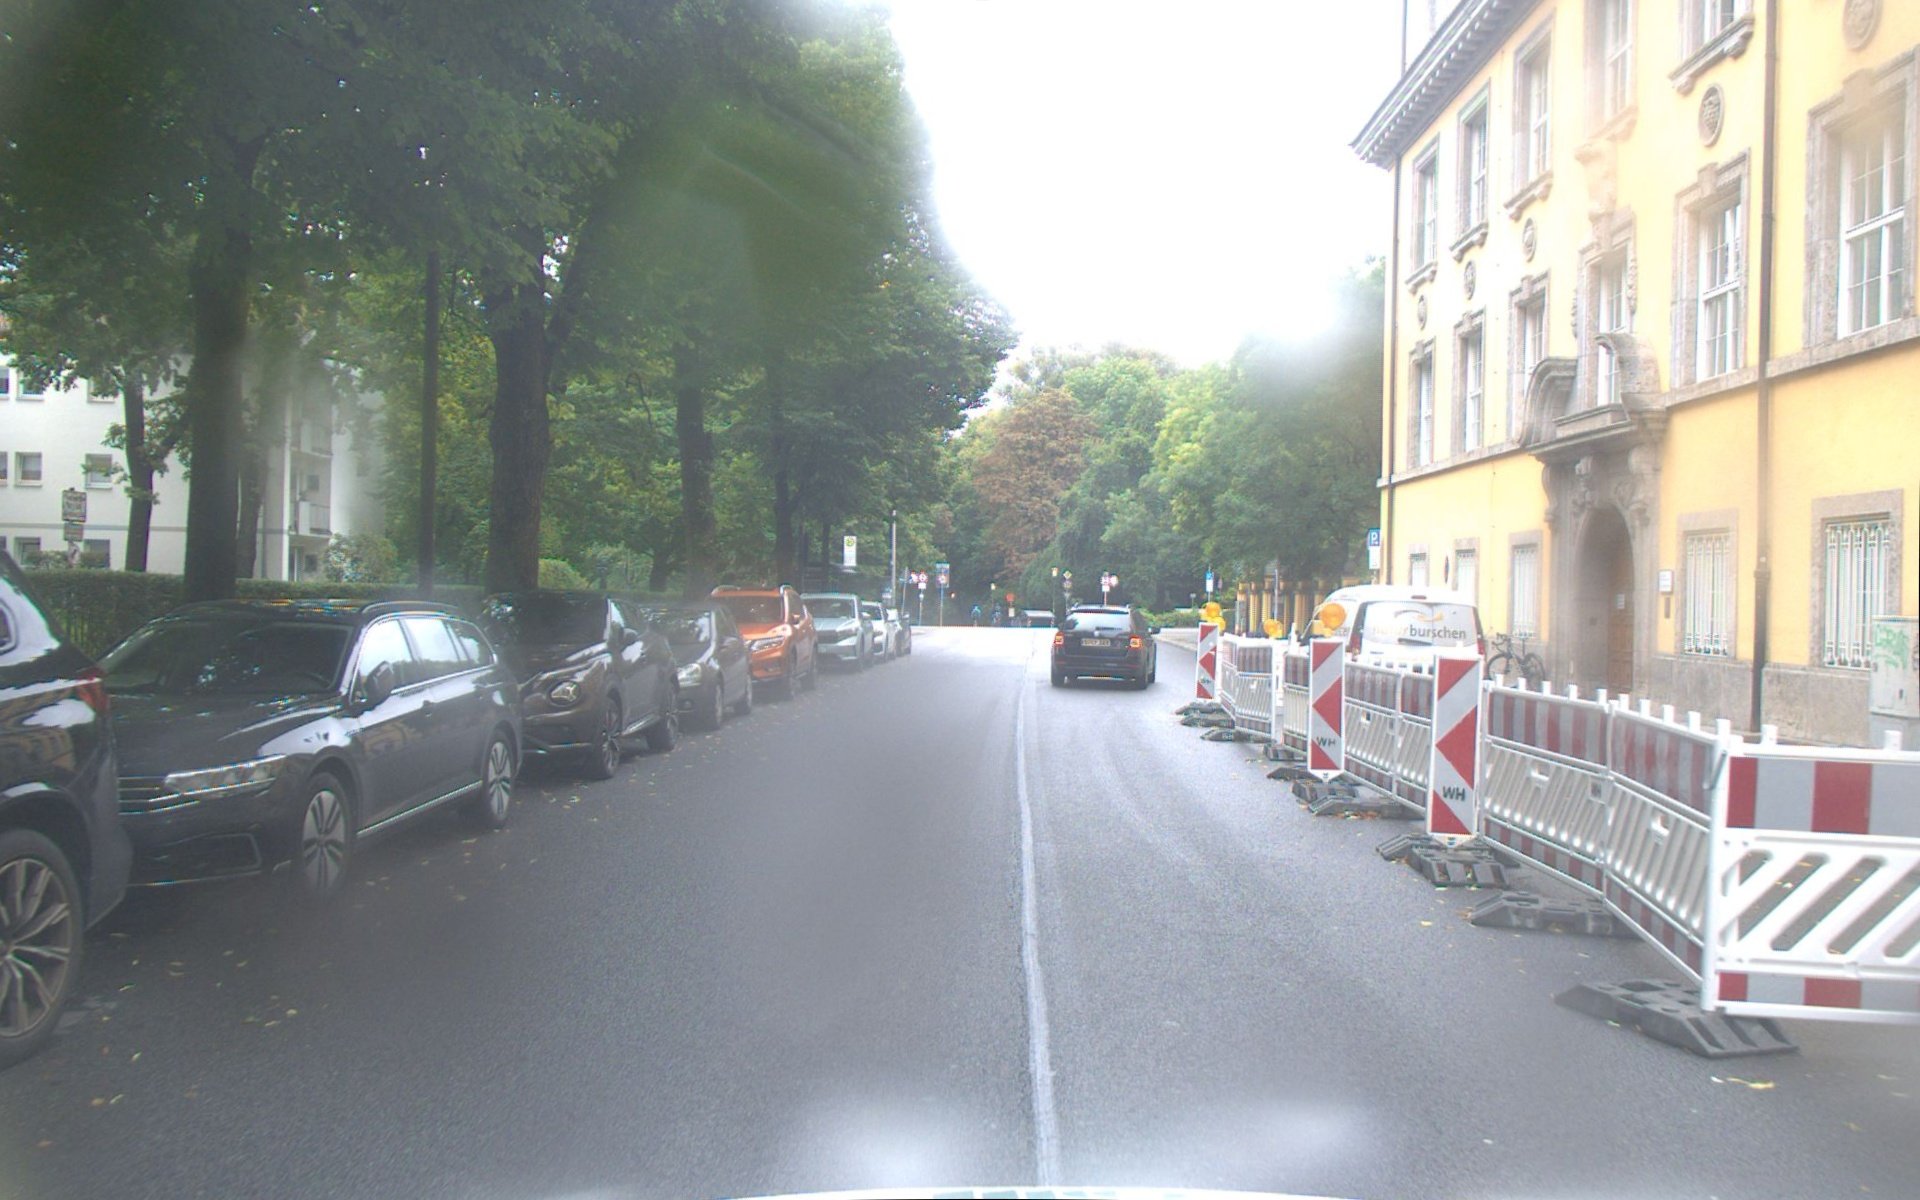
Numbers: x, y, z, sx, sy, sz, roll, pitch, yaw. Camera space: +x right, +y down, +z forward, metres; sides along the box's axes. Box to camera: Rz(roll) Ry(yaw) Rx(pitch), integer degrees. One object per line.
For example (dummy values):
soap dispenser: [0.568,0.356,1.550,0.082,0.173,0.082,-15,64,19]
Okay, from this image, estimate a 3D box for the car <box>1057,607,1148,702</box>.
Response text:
car: [2.619,0.955,30.446,1.544,1.611,4.046,1,0,5]

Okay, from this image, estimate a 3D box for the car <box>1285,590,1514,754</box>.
car: [5.304,0.839,20.512,1.704,1.780,4.356,1,-1,1]

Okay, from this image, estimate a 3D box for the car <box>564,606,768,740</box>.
car: [-3.515,0.817,20.512,1.692,1.447,4.251,1,0,1]

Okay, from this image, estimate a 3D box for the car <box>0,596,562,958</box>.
car: [-3.743,0.746,9.238,1.683,1.476,4.697,1,0,3]

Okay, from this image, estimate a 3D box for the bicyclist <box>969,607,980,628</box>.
bicyclist: [1.083,1.280,120.621,0.668,1.530,0.900,1,0,-7]

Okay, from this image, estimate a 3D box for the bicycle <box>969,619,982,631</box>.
bicycle: [1.097,1.844,120.510,0.666,0.844,2.106,1,-1,-7]

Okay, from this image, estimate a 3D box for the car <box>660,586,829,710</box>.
car: [-3.309,0.717,26.281,1.833,1.758,4.642,1,0,3]

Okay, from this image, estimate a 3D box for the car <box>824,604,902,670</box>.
car: [-2.342,0.884,40.832,1.545,1.523,4.200,1,0,2]

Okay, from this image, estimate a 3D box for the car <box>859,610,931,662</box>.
car: [-1.765,0.970,46.042,1.544,1.366,4.046,1,0,4]

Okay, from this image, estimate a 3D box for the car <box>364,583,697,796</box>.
car: [-3.662,0.691,14.961,1.749,1.602,4.486,1,0,1]

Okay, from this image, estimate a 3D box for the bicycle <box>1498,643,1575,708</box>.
bicycle: [9.893,1.282,28.453,0.666,1.024,2.057,1,-1,2]

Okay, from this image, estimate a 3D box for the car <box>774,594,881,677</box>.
car: [-2.756,0.730,35.387,1.777,1.629,4.514,1,0,2]

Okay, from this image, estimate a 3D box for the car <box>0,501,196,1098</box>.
car: [-3.974,0.604,3.826,1.952,1.828,4.922,0,0,3]

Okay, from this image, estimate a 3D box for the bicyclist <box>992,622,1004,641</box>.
bicyclist: [2.445,2.032,106.804,0.668,1.208,0.480,1,0,-8]
